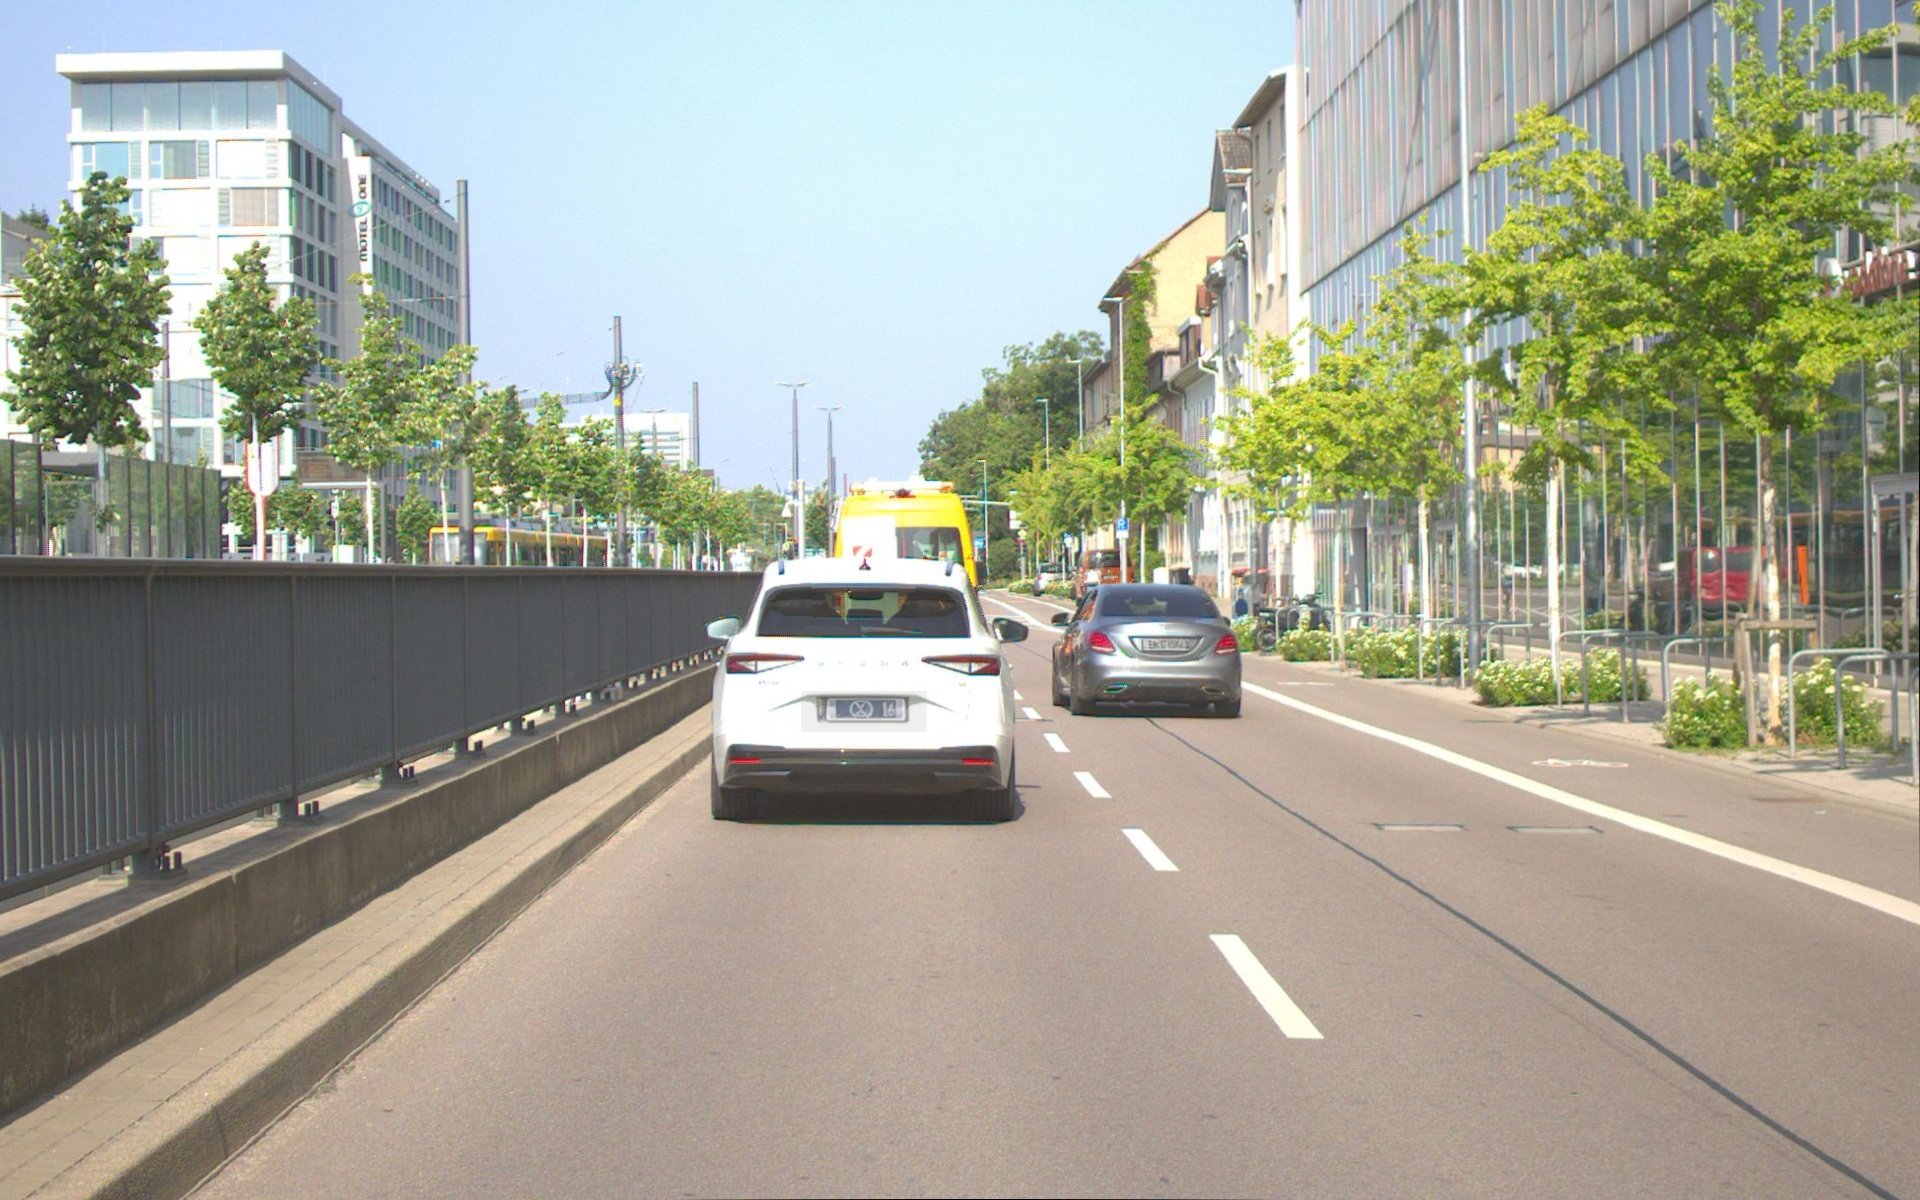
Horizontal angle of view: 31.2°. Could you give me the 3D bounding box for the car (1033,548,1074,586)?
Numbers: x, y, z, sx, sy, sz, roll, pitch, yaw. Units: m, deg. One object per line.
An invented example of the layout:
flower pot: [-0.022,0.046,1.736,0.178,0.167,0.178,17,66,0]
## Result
car: [4.464,-1.583,164.989,1.812,1.806,3.836,0,1,-1]

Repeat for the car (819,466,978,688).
car: [-0.805,-0.396,46.829,2.020,2.786,5.401,-1,3,0]

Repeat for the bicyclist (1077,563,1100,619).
bicyclist: [3.655,-0.259,97.511,0.639,1.571,0.771,0,1,2]

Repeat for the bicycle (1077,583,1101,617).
bicycle: [3.652,-0.005,97.358,0.655,0.935,1.517,0,1,2]

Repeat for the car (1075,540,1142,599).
car: [5.213,-1.091,121.407,2.063,2.007,4.588,-1,1,-1]

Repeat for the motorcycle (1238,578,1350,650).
motorcycle: [6.499,0.264,66.945,1.968,1.345,0.868,-1,0,-11]

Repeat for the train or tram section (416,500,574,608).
train or tram section: [-17.013,-1.630,127.213,2.906,3.663,18.136,1,0,1]

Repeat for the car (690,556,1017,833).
car: [-0.624,0.516,21.787,1.870,1.569,4.000,-1,1,0]

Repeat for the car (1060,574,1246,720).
car: [2.046,0.471,37.420,1.760,1.431,4.115,1,1,0]

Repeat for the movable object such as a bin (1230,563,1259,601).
movable object such as a bin: [8.844,-0.552,106.901,0.669,1.148,0.617,-3,4,-44]
